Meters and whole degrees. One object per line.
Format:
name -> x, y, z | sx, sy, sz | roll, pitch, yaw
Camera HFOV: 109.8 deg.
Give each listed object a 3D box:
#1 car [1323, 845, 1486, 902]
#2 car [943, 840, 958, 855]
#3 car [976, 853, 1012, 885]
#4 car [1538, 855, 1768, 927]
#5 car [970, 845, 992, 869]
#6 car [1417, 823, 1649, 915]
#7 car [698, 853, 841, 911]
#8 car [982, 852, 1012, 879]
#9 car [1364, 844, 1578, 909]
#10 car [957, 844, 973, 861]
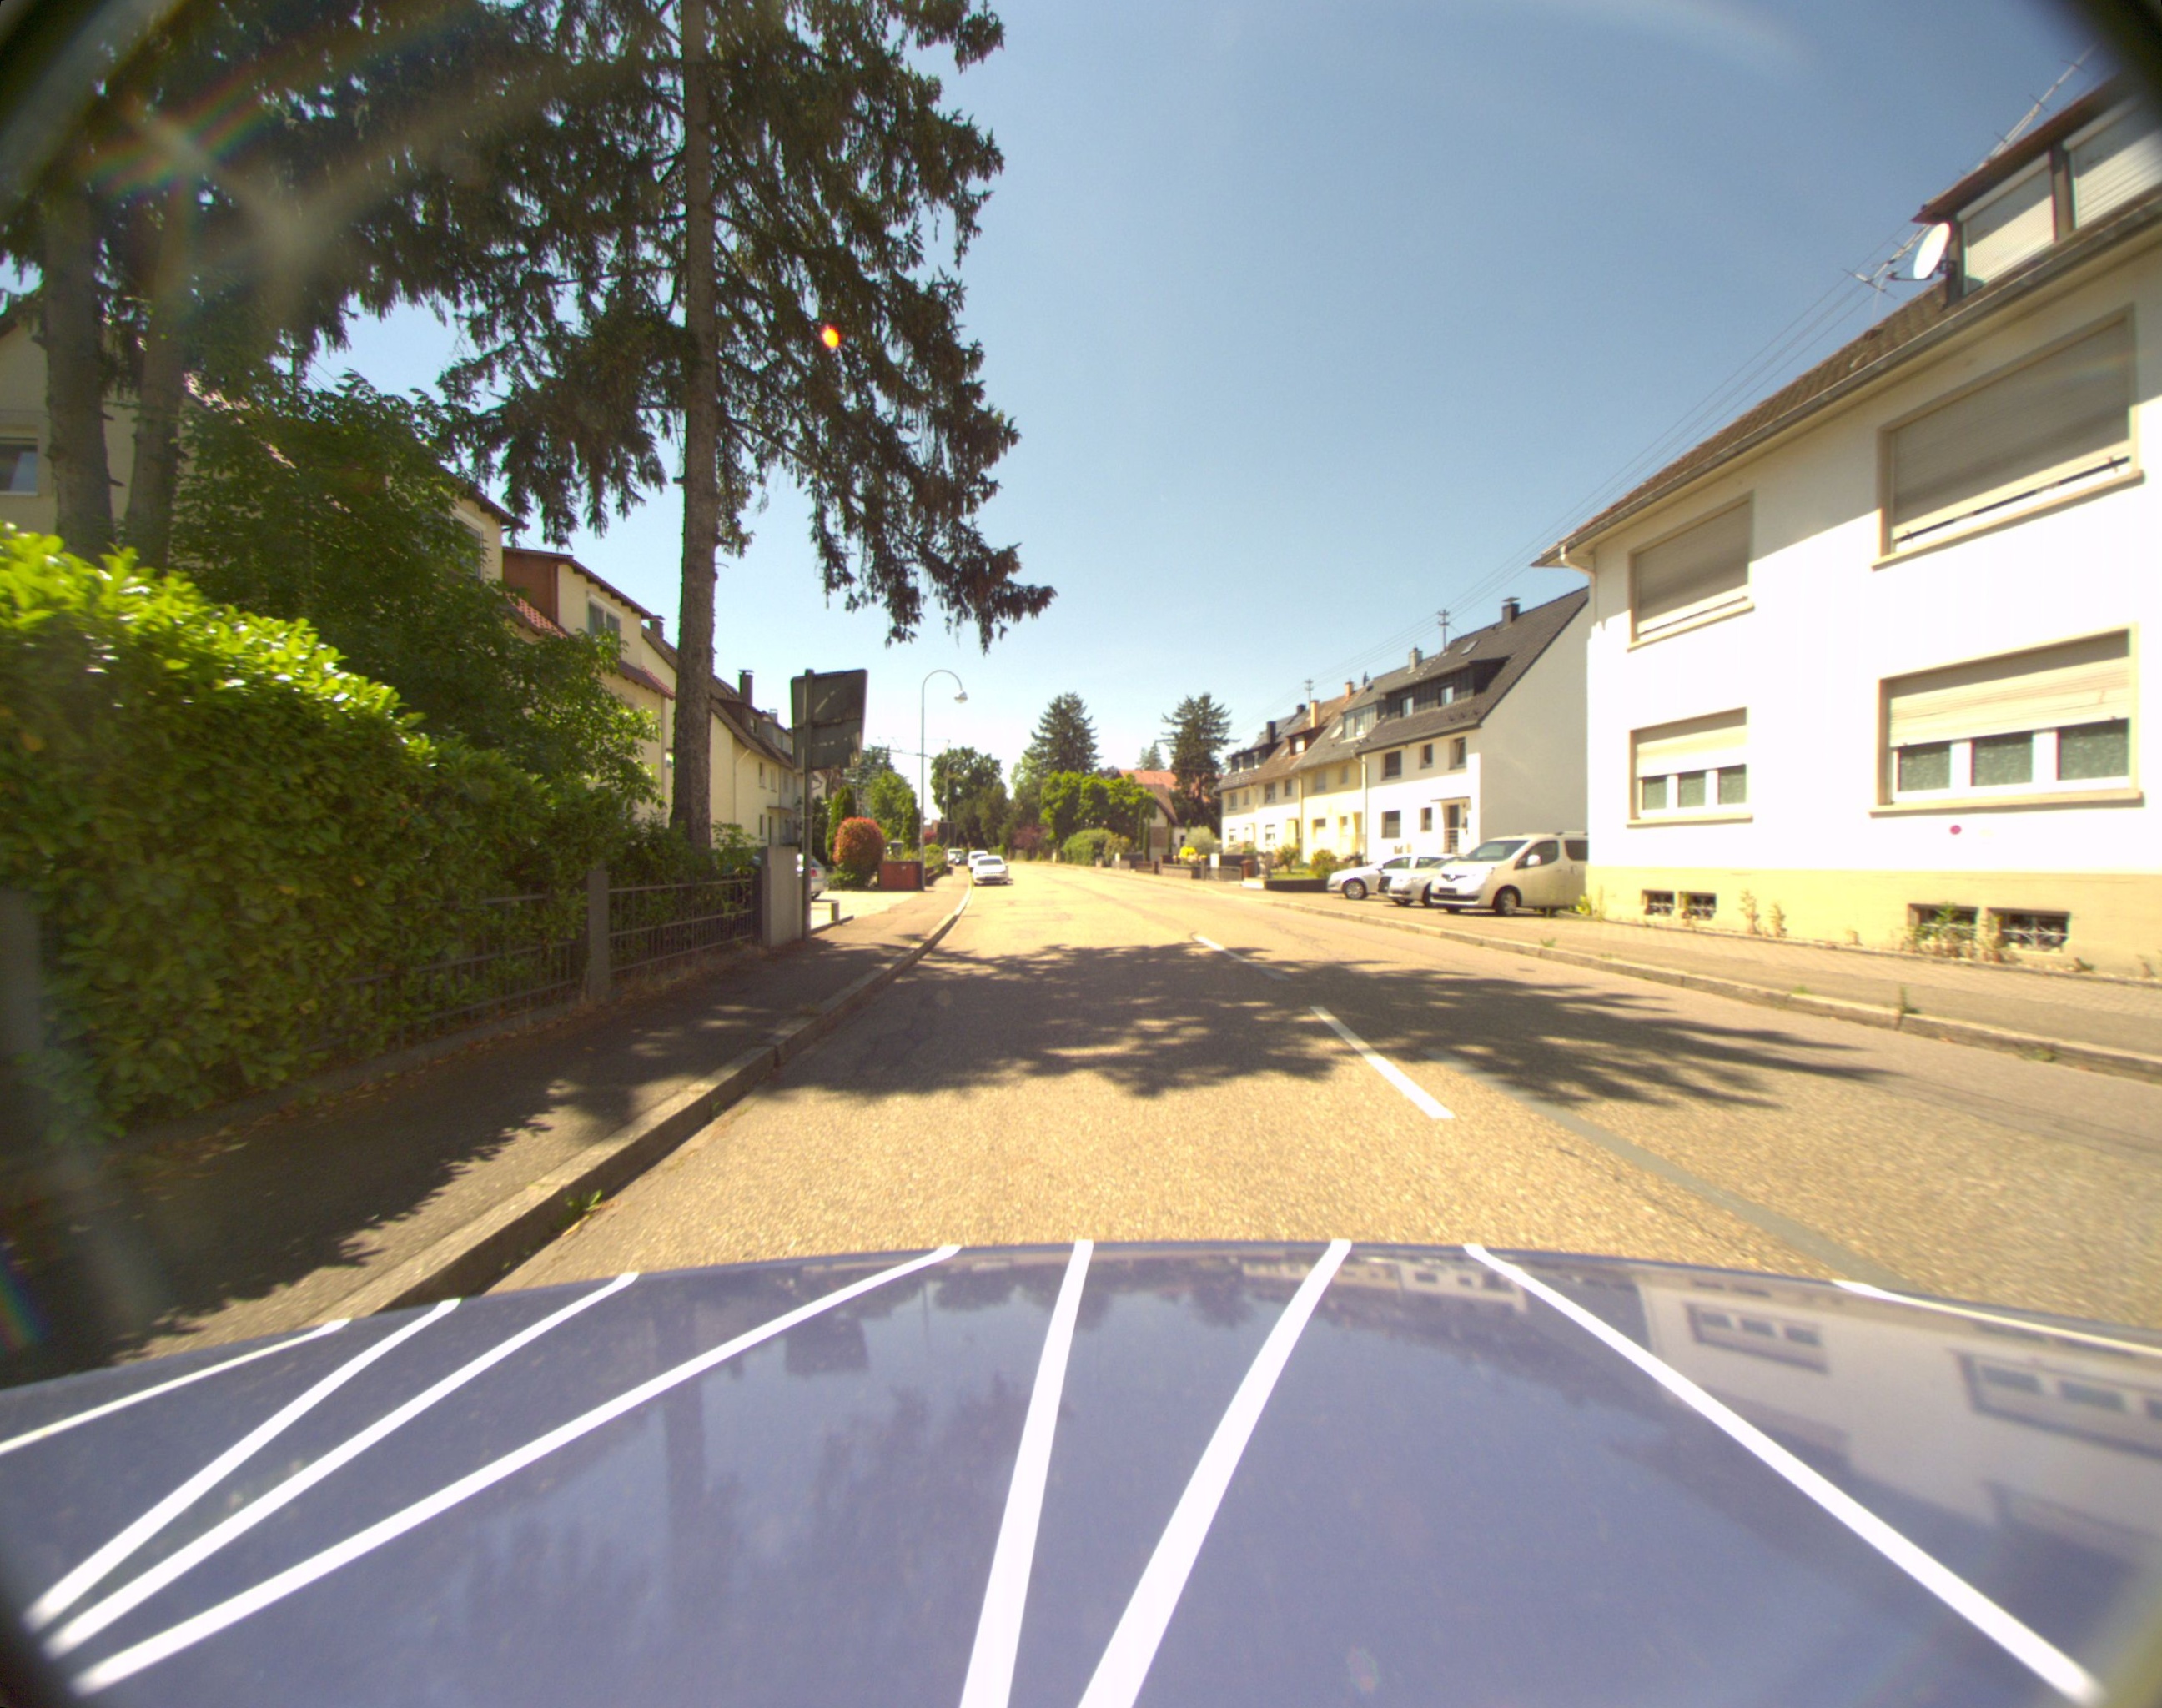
car -> 9.577, 0.534, 22.575 | 4.263, 1.486, 1.880 | 1, 0, 26
car -> -16.196, -0.787, 94.369 | 1.690, 1.769, 3.936 | -2, 1, -10
car -> -4.406, 0.704, 38.384 | 1.689, 1.446, 3.736 | -2, 1, -7
car -> 14.605, 0.918, 19.571 | 4.484, 1.486, 1.975 | 4, 0, -4
car -> -8.341, 0.224, 63.535 | 1.689, 1.770, 3.936 | -2, 3, -6
car -> 10.083, 0.340, 17.065 | 4.367, 1.866, 1.848 | 1, 0, -12
car -> -9.506, 0.828, 23.434 | 3.629, 1.521, 1.776 | -2, 2, -5
car -> -5.078, 0.647, 45.542 | 1.689, 1.445, 4.358 | -2, 1, -7
car -> 9.901, 0.561, 19.510 | 4.484, 1.486, 1.975 | 1, 0, -4
car -> -13.379, -0.180, 87.522 | 1.690, 1.769, 3.936 | -2, 1, -10
